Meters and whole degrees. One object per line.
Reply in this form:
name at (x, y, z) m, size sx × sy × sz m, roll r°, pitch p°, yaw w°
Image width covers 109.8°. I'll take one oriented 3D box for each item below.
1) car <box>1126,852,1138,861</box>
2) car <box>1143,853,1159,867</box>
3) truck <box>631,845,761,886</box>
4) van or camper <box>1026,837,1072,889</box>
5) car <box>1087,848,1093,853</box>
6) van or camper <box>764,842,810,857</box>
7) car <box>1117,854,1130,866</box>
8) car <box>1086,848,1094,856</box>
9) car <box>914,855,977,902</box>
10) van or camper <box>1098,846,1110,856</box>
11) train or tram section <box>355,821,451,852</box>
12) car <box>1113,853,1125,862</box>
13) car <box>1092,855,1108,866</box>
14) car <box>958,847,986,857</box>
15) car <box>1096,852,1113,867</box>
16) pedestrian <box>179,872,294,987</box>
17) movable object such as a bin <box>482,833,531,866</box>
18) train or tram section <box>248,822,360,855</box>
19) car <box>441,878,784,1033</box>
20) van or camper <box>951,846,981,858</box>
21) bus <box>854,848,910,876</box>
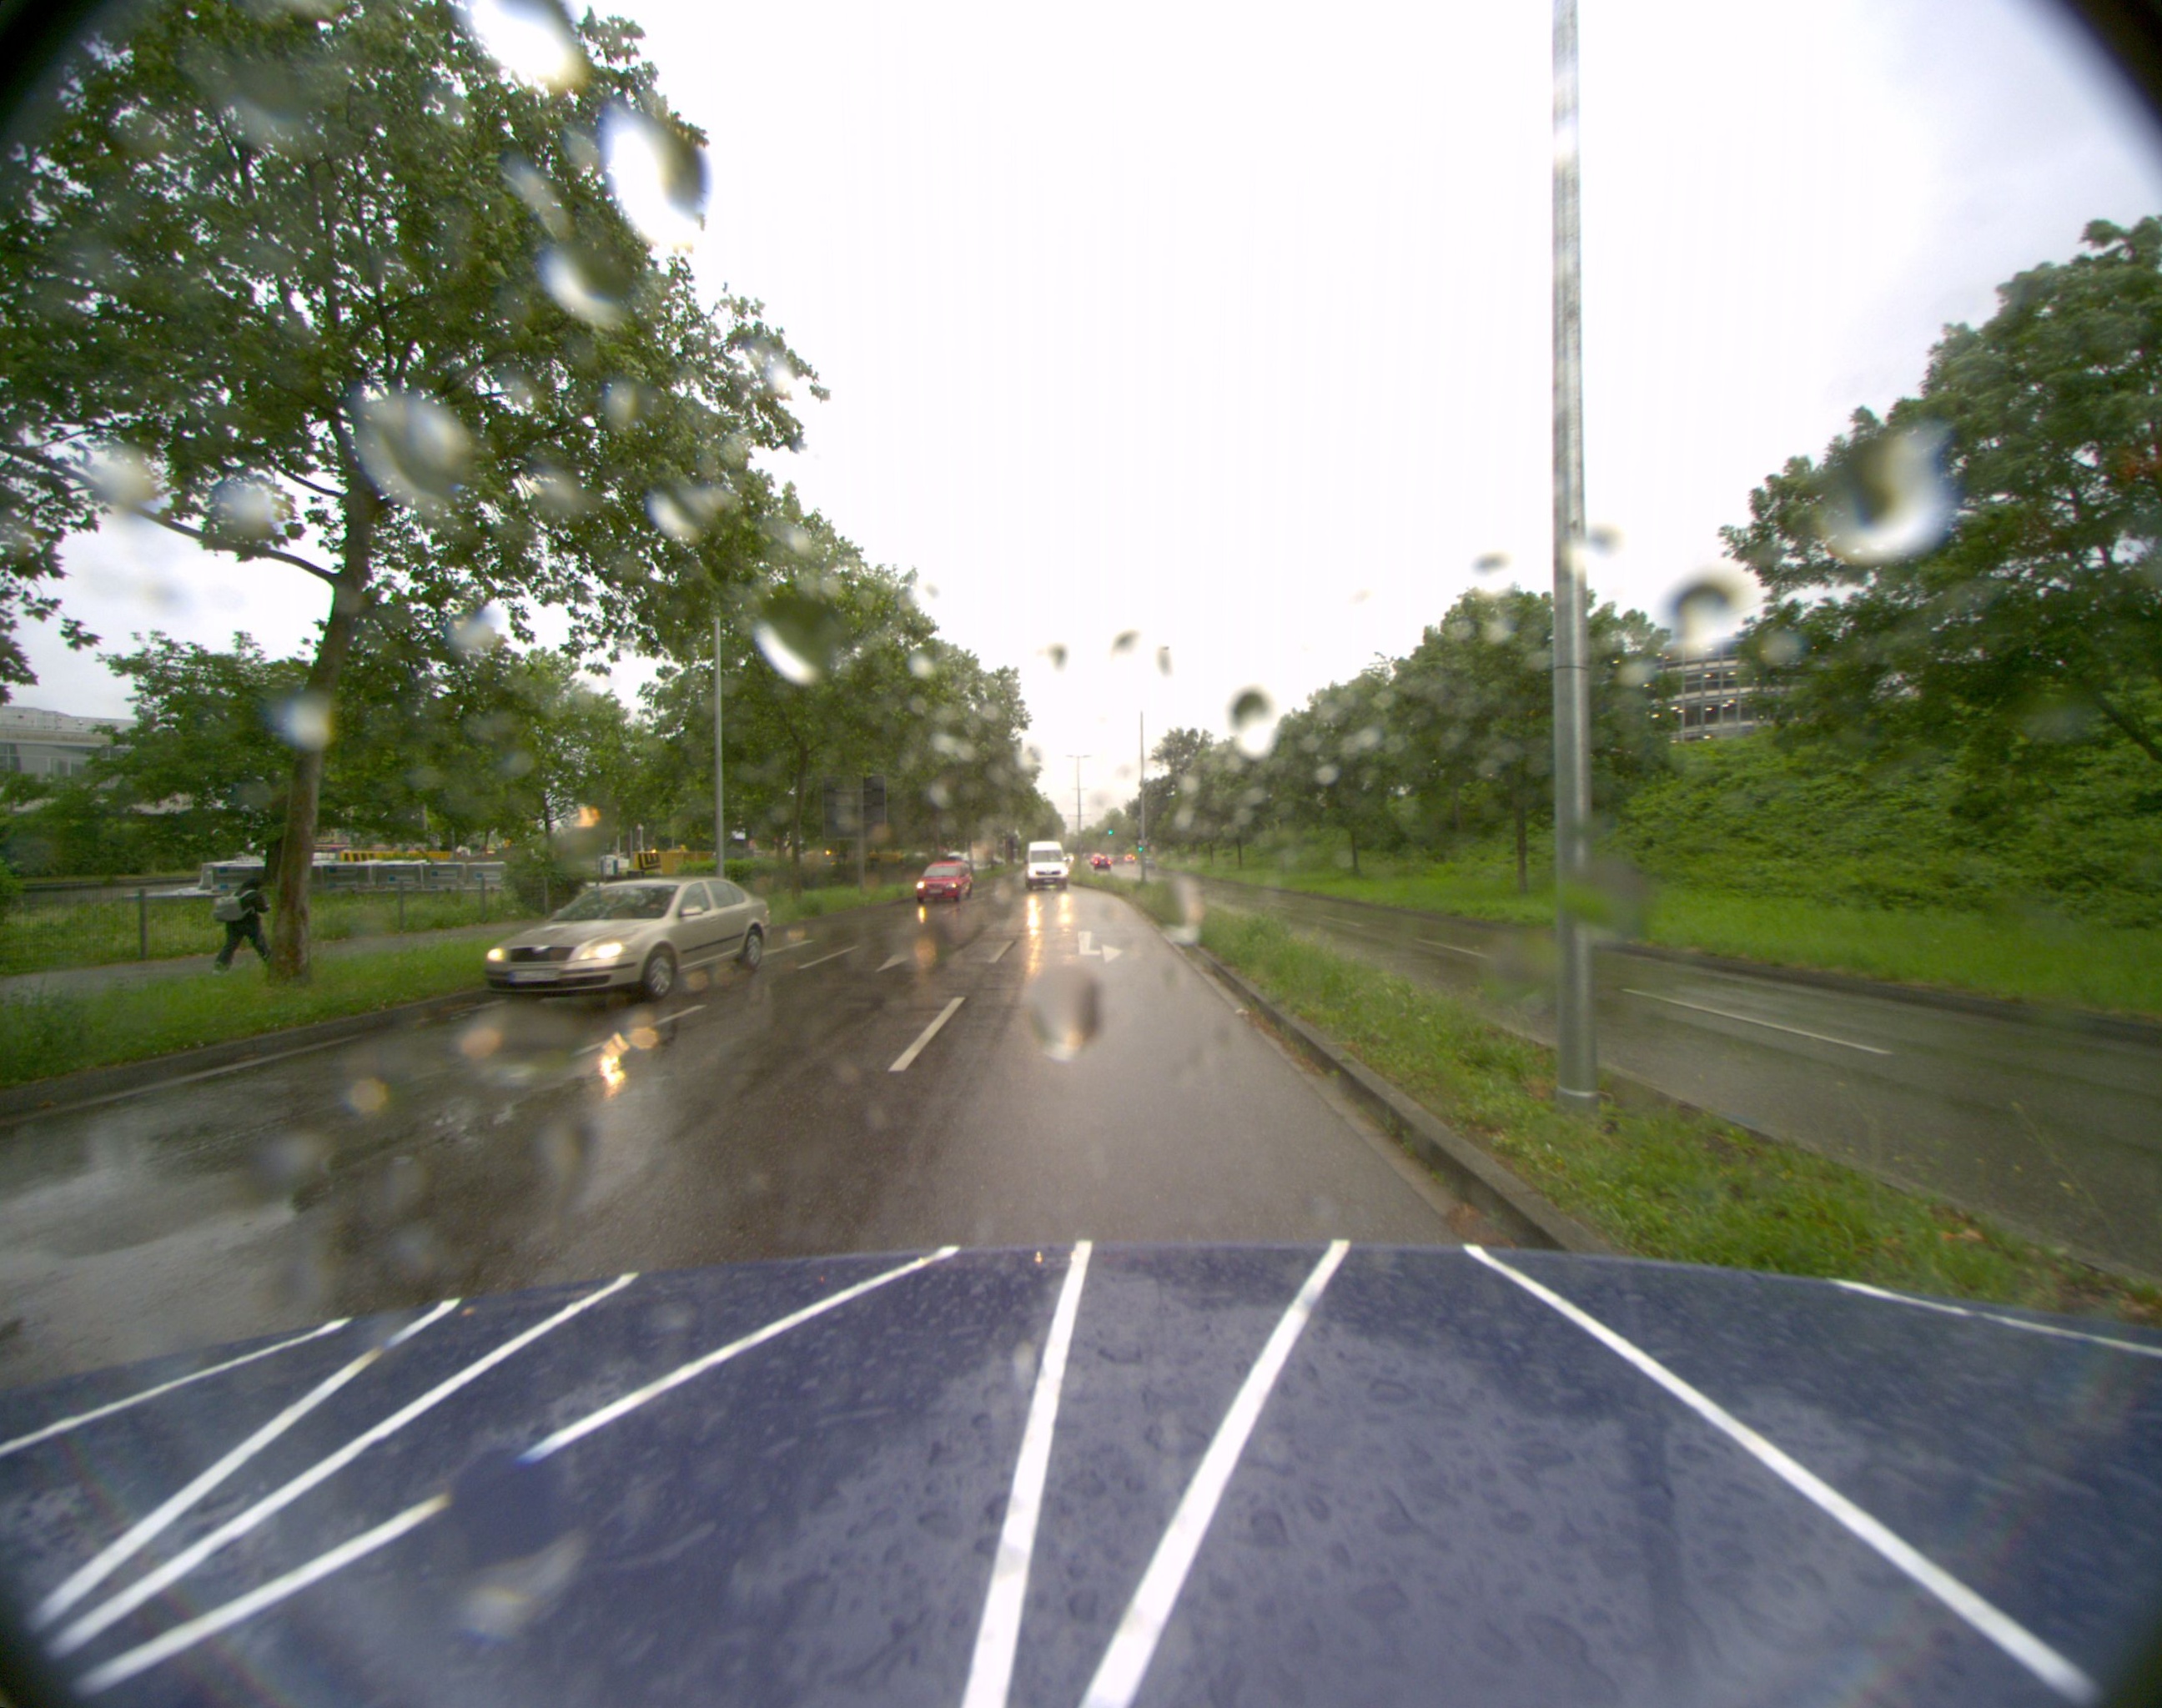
car at (9.039, 0.497, 133.651) m, size 1.840 × 1.493 × 4.439 m, roll 1°, pitch 0°, yaw 1°
car at (8.906, 0.745, 96.880) m, size 1.700 × 1.608 × 3.847 m, roll -1°, pitch 0°, yaw 1°
truck at (-32.976, 0.899, 65.296) m, size 9.517 × 3.015 × 3.073 m, roll -3°, pitch 2°, yaw -35°
van or camper at (-1.655, 0.463, 41.194) m, size 2.100 × 2.580 × 4.775 m, roll -2°, pitch 1°, yaw 1°
car at (3.201, -1.146, 262.067) m, size 1.998 × 1.678 × 4.708 m, roll 1°, pitch 0°, yaw 1°
van or camper at (-65.857, -1.060, 170.327) m, size 8.994 × 3.140 × 2.979 m, roll -3°, pitch 2°, yaw -35°
car at (6.321, 0.867, 113.672) m, size 1.724 × 1.609 × 4.347 m, roll 1°, pitch 2°, yaw 6°
car at (2.253, -0.511, 193.910) m, size 1.998 × 2.002 × 3.999 m, roll -2°, pitch 2°, yaw 1°
car at (-5.604, 0.968, 31.930) m, size 1.699 × 1.759 × 4.558 m, roll -1°, pitch 0°, yaw 1°
van or camper at (3.776, -0.516, 127.066) m, size 1.733 × 1.732 × 3.999 m, roll 2°, pitch 1°, yaw -1°
train or tram section at (-82.192, -2.170, 92.338) m, size 8.385 × 3.500 × 2.394 m, roll -3°, pitch 3°, yaw -38°
car at (6.518, 0.565, 130.965) m, size 1.913 × 1.565 × 4.708 m, roll 2°, pitch 0°, yaw 1°
car at (2.771, 0.967, 112.413) m, size 1.914 × 1.565 × 4.707 m, roll 1°, pitch 0°, yaw -3°
car at (-18.618, -0.326, 129.703) m, size 4.470 × 1.663 × 1.863 m, roll 0°, pitch 1°, yaw -38°
car at (2.574, 0.626, 84.334) m, size 1.828 × 1.566 × 4.358 m, roll 0°, pitch 1°, yaw 0°
pedestrian at (-13.766, 1.196, 12.425) m, size 0.666 × 1.752 × 1.075 m, roll -1°, pitch 1°, yaw -5°
movable object such as a bin at (-63.692, -0.519, 84.191) m, size 3.602 × 3.605 × 3.326 m, roll 0°, pitch 1°, yaw 35°
train or tram section at (-88.842, -1.795, 87.106) m, size 8.546 × 3.500 × 2.394 m, roll -3°, pitch 3°, yaw -38°
car at (-5.771, 1.138, 10.168) m, size 1.807 × 1.422 × 4.386 m, roll -1°, pitch 1°, yaw 1°
van or camper at (-20.029, -0.377, 132.908) m, size 4.918 × 2.076 × 1.863 m, roll 0°, pitch 1°, yaw -38°
bus at (-19.377, 0.757, 74.080) m, size 4.804 × 2.632 × 2.000 m, roll -1°, pitch 1°, yaw 1°
